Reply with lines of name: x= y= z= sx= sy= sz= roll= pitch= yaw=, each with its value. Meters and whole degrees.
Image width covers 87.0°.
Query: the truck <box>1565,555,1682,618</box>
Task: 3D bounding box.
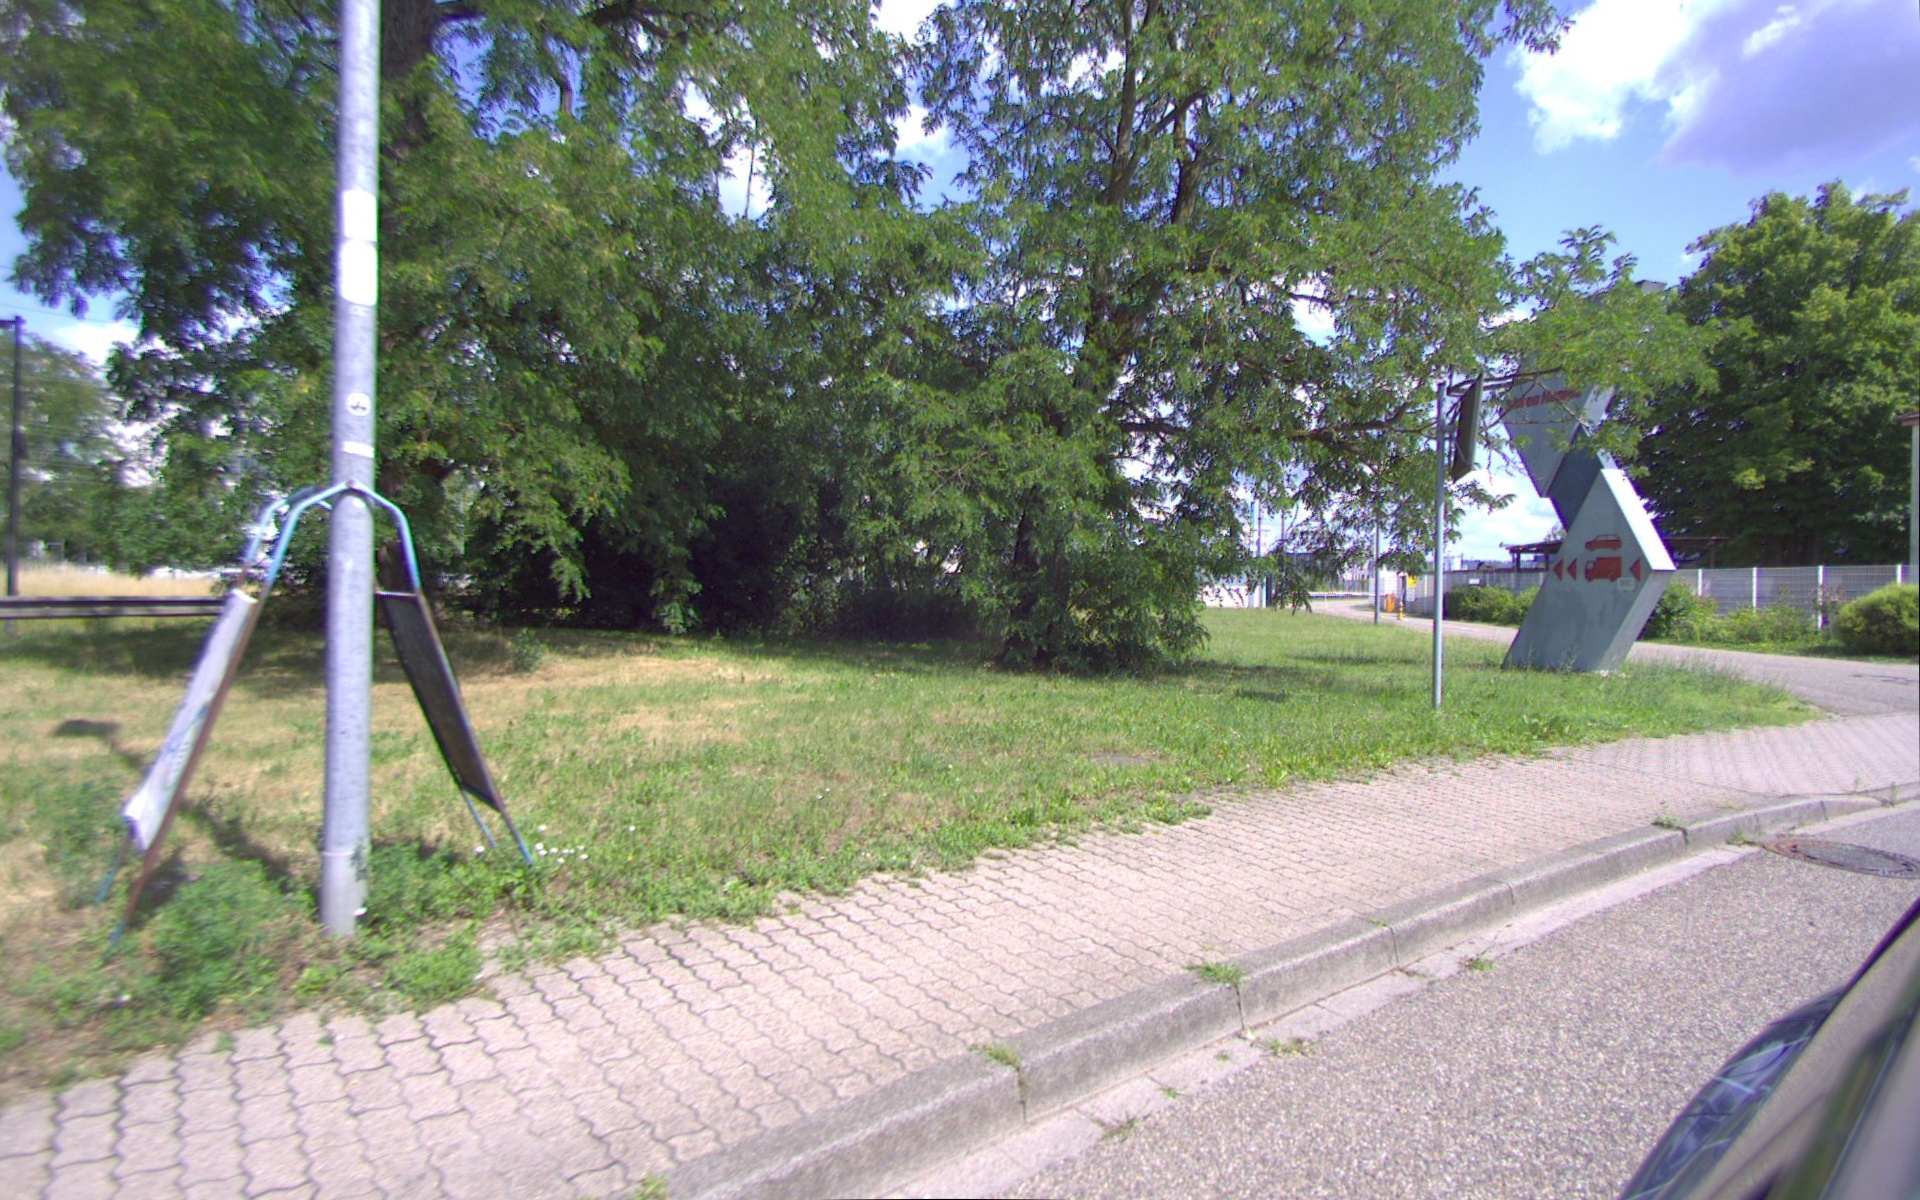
truck: x=27.743 y=-0.581 z=42.562 sx=1.964 sy=2.455 sz=4.740 roll=1 pitch=1 yaw=4
